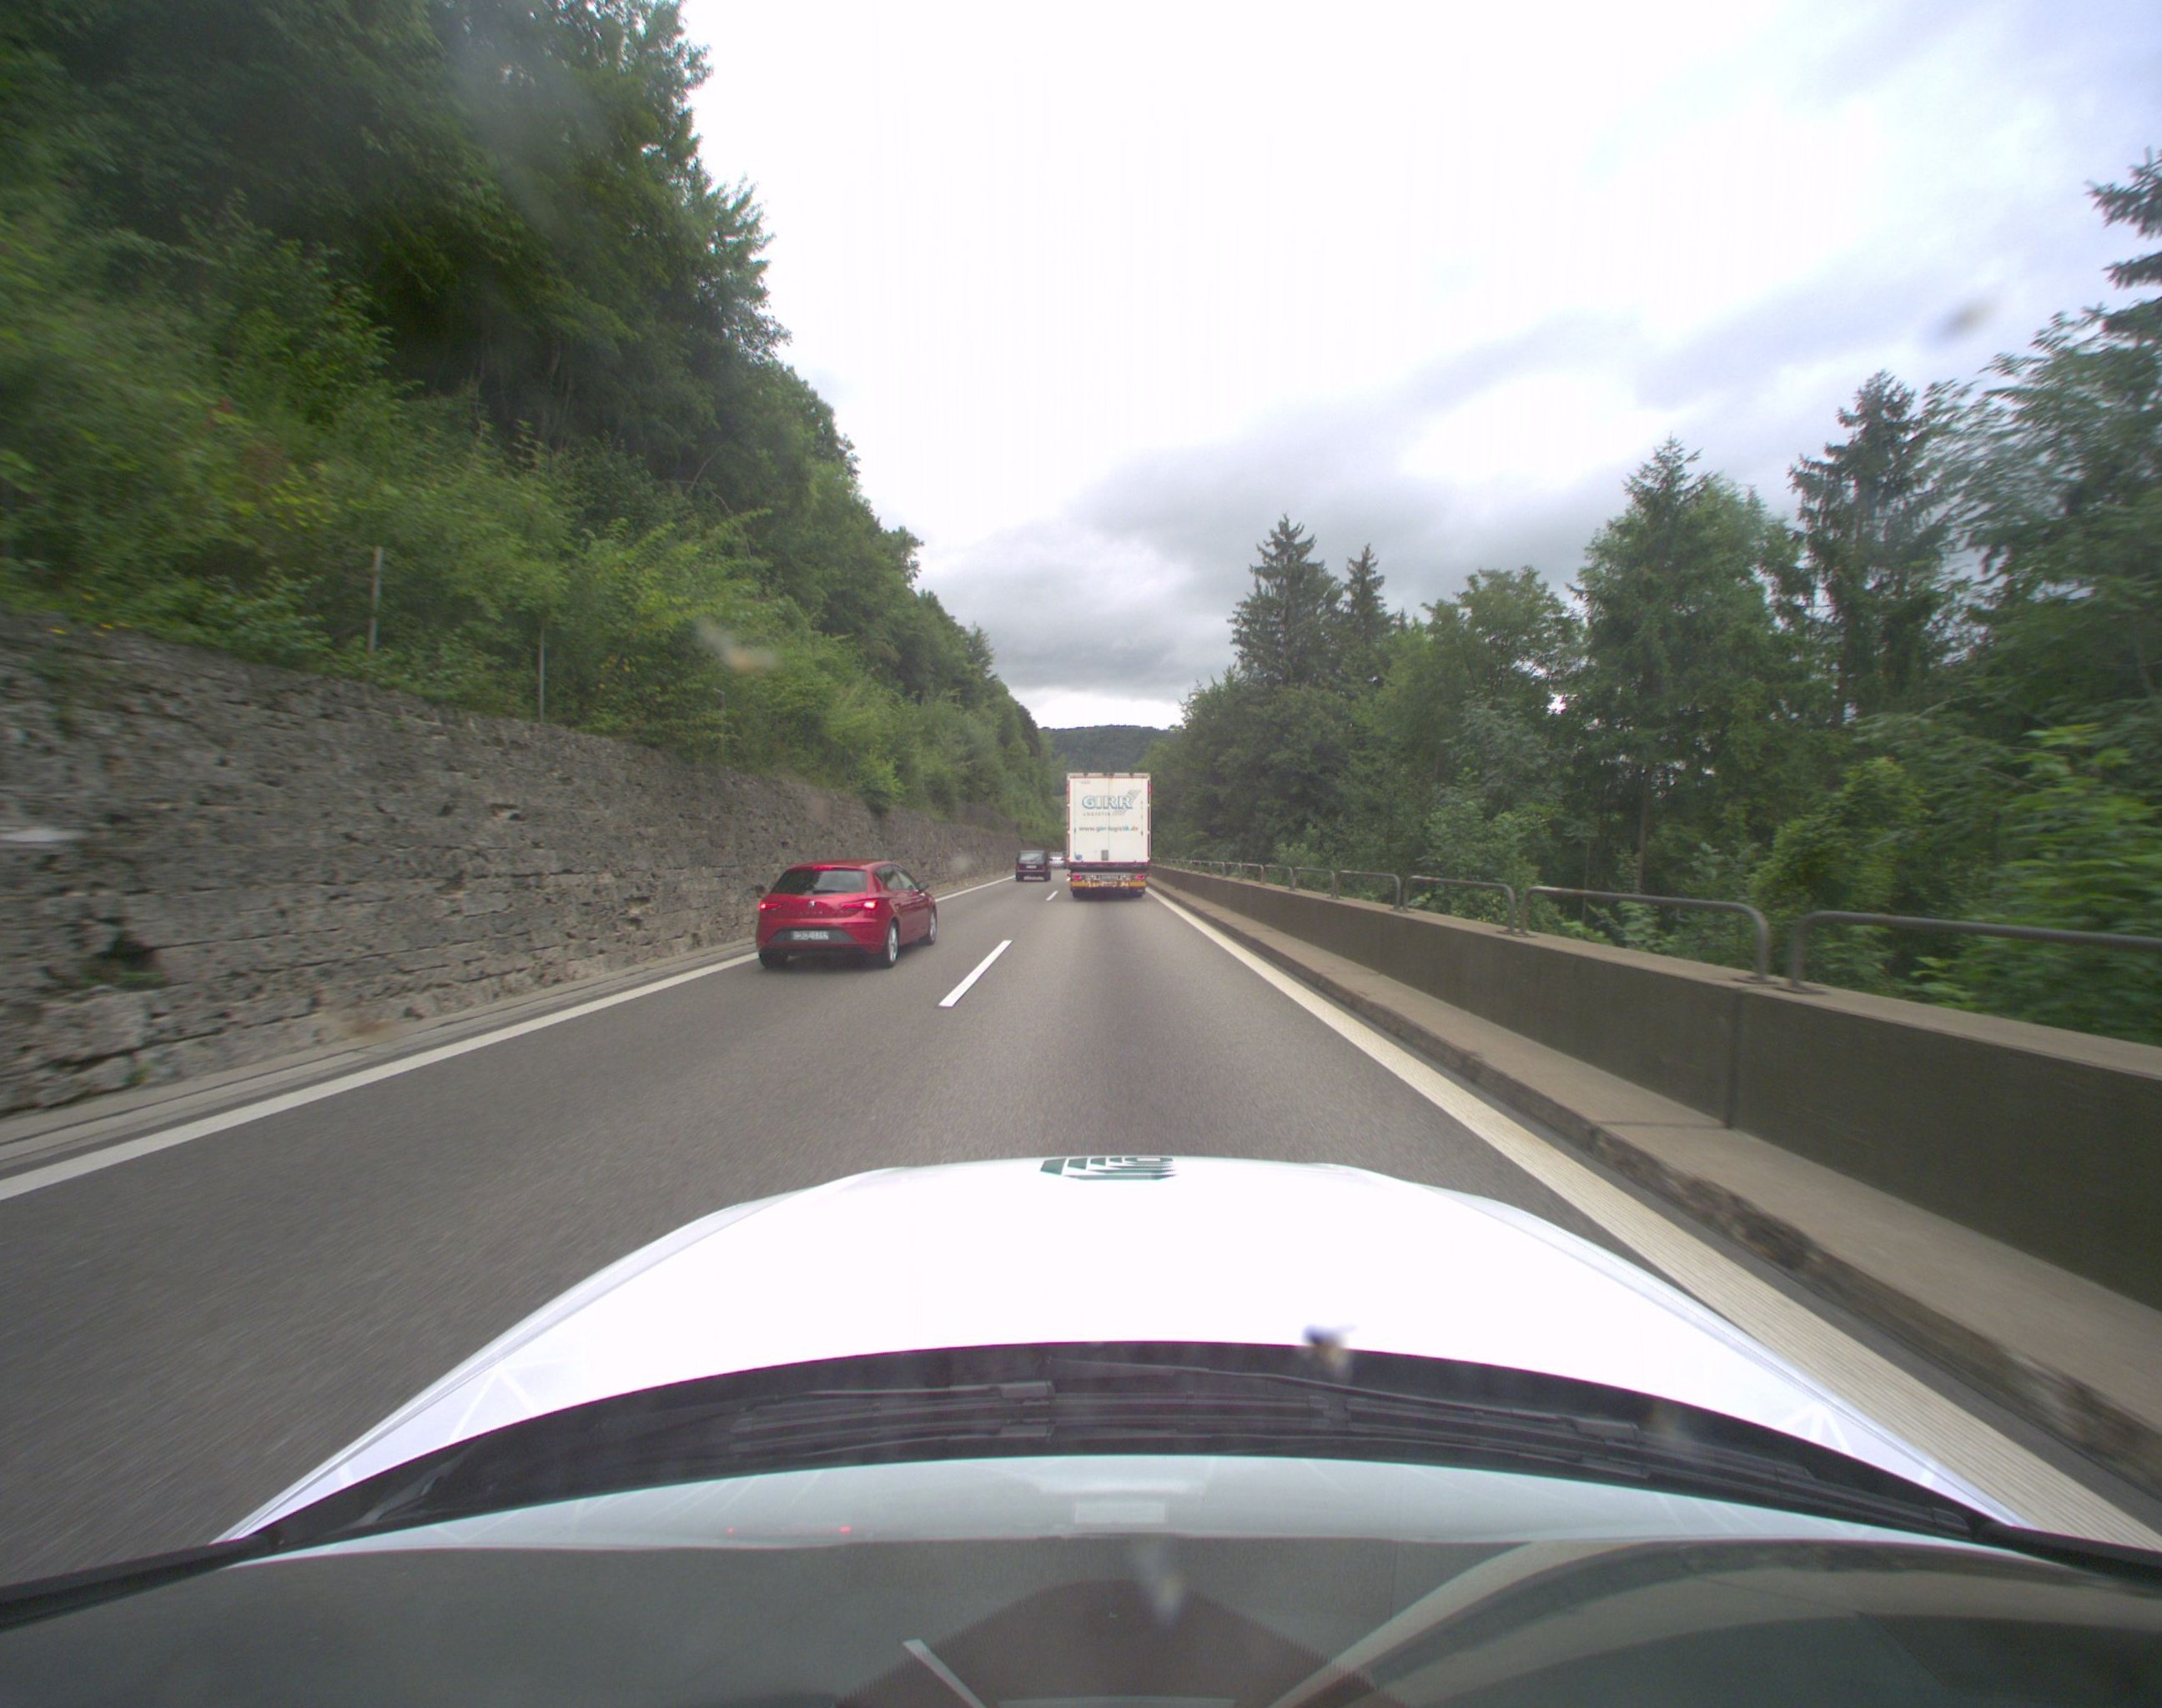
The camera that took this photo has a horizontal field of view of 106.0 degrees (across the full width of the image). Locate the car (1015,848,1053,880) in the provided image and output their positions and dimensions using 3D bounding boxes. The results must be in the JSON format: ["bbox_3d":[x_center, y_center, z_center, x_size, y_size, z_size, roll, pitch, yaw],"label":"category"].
[{"bbox_3d":[-2.454,0.523,43.217,1.663,1.639,4.069,0,0,1],"label":"car"}]

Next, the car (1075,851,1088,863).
[{"bbox_3d":[0.138,0.598,139.896,1.985,2.014,4.002,0,-1,2],"label":"car"}]

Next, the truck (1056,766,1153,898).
[{"bbox_3d":[0.854,-0.663,29.174,2.898,3.960,9.282,0,0,2],"label":"truck"}]

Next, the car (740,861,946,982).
[{"bbox_3d":[-3.289,0.850,12.231,1.760,1.460,4.411,0,0,0],"label":"car"}]

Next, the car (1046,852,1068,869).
[{"bbox_3d":[-2.149,0.571,73.394,1.723,1.486,4.001,0,0,1],"label":"car"}]

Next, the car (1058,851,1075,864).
[{"bbox_3d":[-1.763,0.457,99.149,1.910,1.595,4.179,0,0,1],"label":"car"}]
